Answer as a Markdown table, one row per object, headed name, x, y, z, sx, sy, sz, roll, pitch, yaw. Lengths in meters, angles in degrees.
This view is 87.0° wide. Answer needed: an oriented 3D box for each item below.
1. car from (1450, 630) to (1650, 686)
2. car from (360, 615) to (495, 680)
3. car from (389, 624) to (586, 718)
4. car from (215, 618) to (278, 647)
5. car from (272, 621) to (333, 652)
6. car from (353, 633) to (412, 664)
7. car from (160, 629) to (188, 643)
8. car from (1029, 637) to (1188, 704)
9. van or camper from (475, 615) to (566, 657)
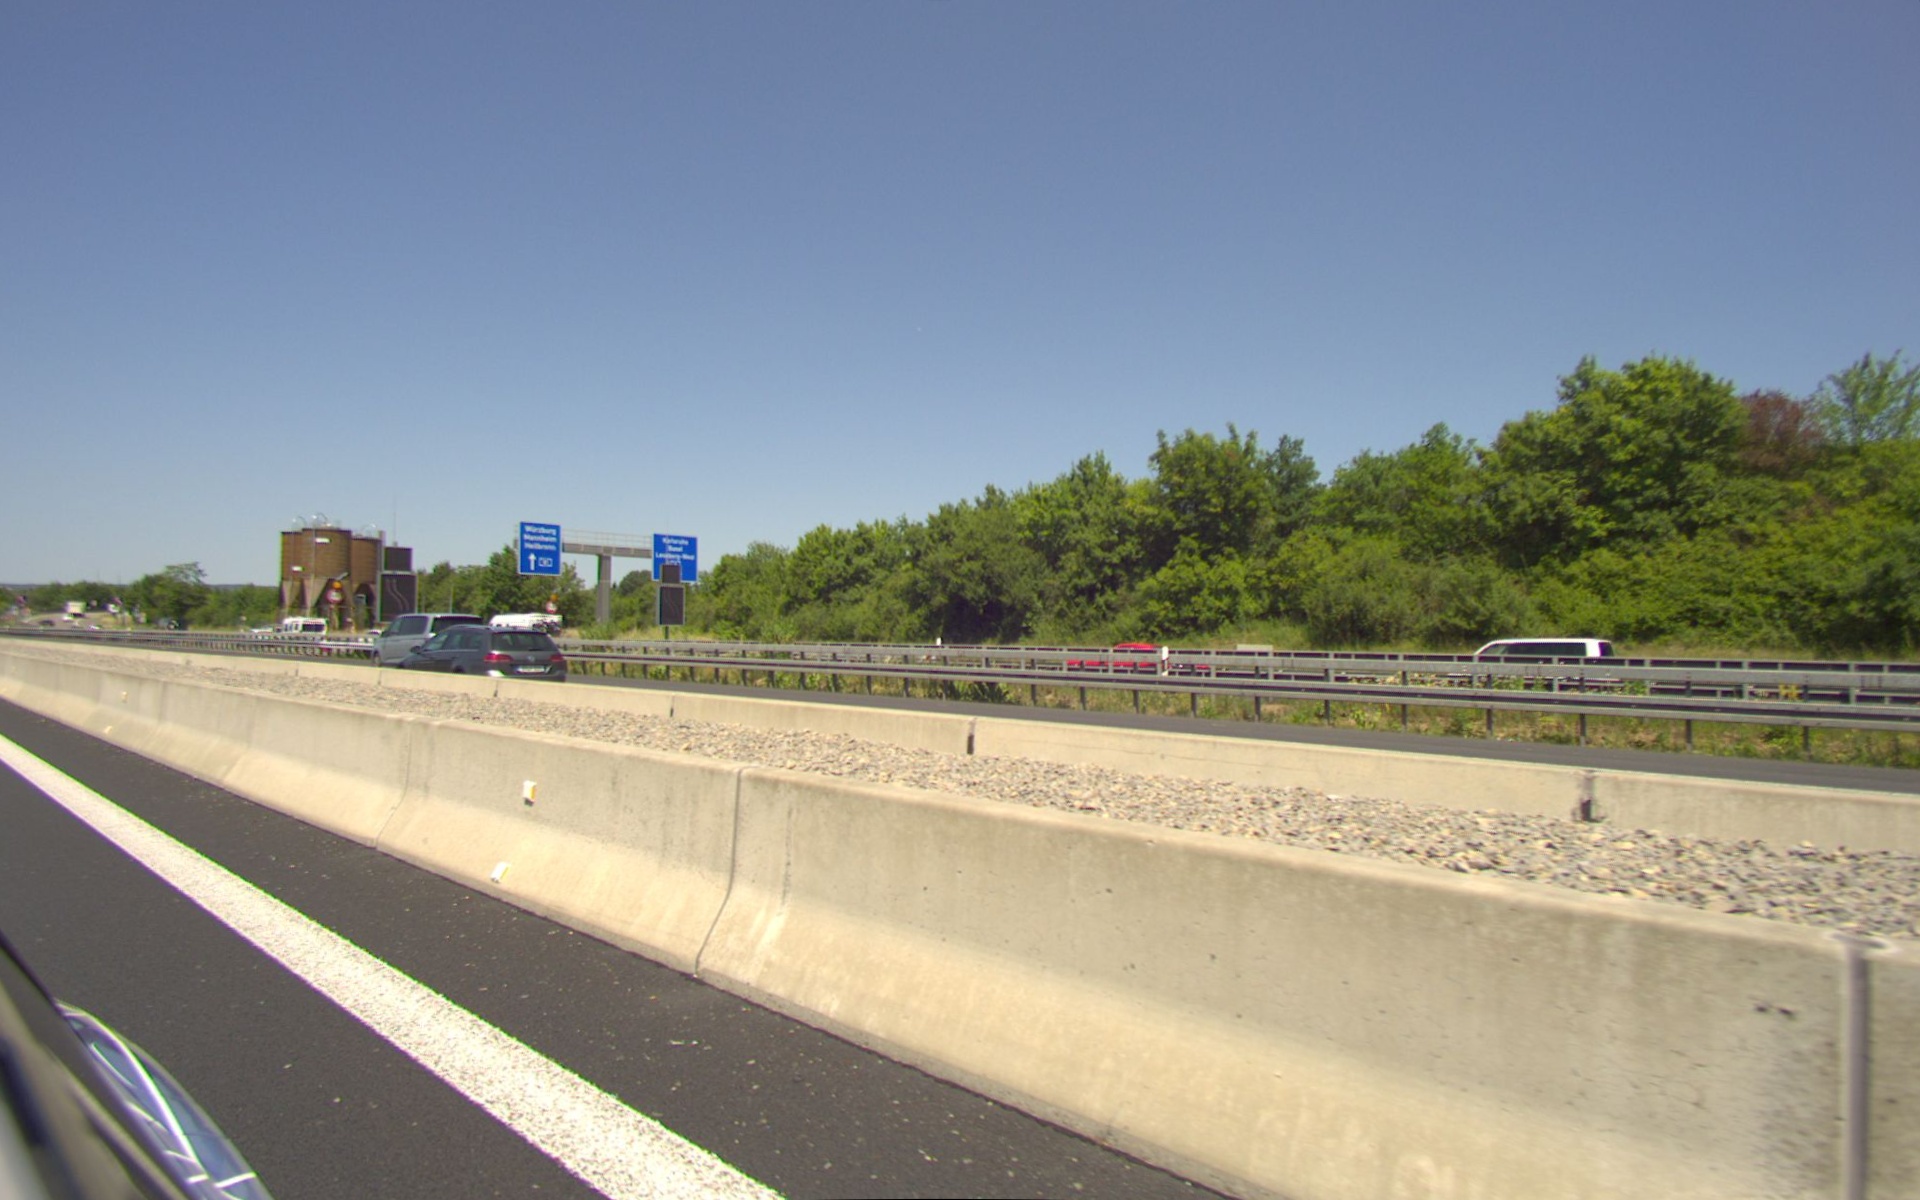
| name | x | y | z | sx | sy | sz | roll | pitch | yaw |
| --- | --- | --- | --- | --- | --- | --- | --- | --- | --- |
| car | 18.223 | 1.722 | 31.454 | 1.969 | 1.589 | 4.998 | 2 | -2 | -42 |
| car | -16.531 | 1.446 | 31.302 | 5.083 | 1.856 | 1.972 | -1 | -4 | 42 |
| car | -9.140 | 1.284 | 19.432 | 4.303 | 1.608 | 1.776 | -2 | -2 | 40 |
| car | -56.639 | 2.577 | 80.275 | 6.932 | 2.182 | 2.469 | -1 | -3 | 41 |
| car | -55.813 | 3.105 | 85.841 | 5.960 | 2.521 | 2.767 | -2 | -3 | 41 |
| car | -36.041 | 2.968 | 63.087 | 4.450 | 1.741 | 1.776 | -1 | 0 | 40 |
| car | -89.452 | 4.063 | 115.172 | 3.998 | 1.521 | 1.776 | -1 | 0 | 41 |
| car | 4.109 | 1.910 | 28.305 | 3.999 | 1.589 | 1.972 | 0 | 0 | 42 |
| van or camper | -25.645 | 2.016 | 58.918 | 6.964 | 2.272 | 2.085 | 0 | 0 | 41 |
